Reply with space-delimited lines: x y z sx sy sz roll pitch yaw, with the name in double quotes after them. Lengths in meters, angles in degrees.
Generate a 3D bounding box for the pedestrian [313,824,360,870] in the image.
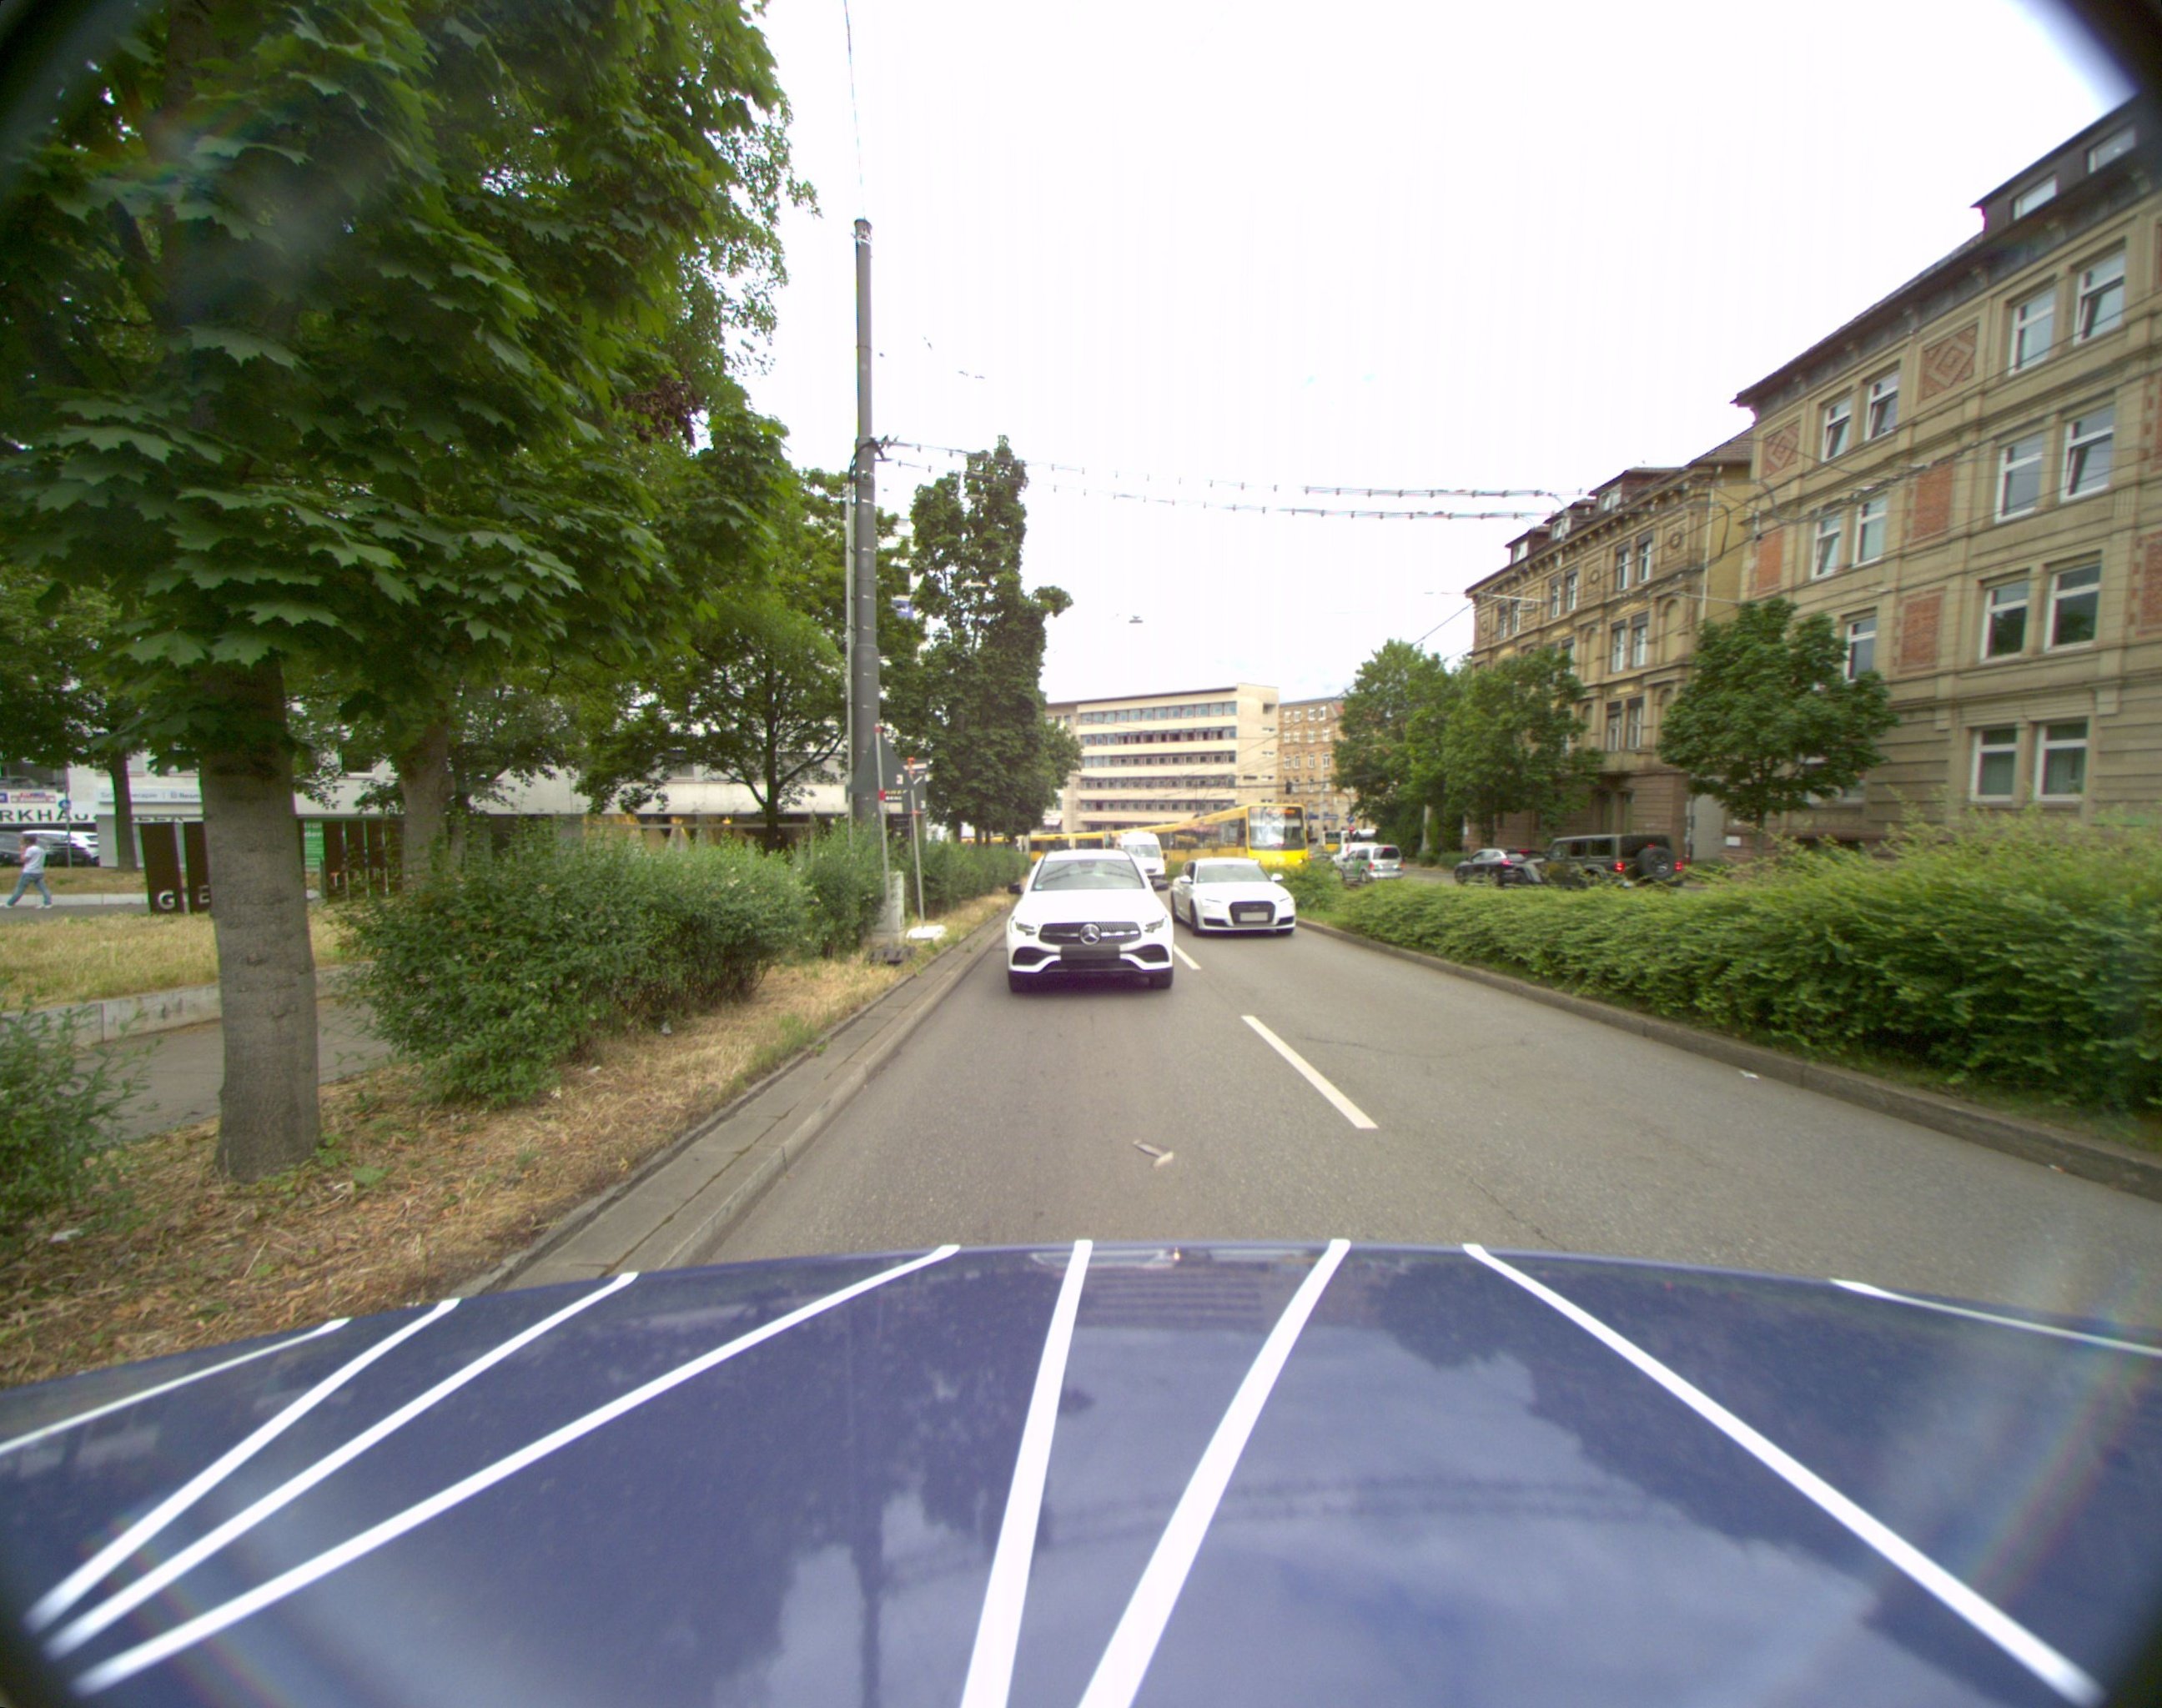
-27.912 -0.256 28.485 0.880 1.691 0.876 -1 1 -11 "pedestrian"

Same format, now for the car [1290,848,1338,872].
16.085 0.385 52.681 1.747 1.419 4.403 -3 1 -3 "car"

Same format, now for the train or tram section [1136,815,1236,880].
6.619 -0.562 51.159 2.890 3.643 14.216 -2 2 -8 "train or tram section"

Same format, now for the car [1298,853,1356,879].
14.639 0.695 45.592 1.824 1.442 4.945 0 0 -1 "car"

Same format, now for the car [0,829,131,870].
-43.176 -0.169 31.974 3.631 1.664 1.595 0 1 -28 "car"

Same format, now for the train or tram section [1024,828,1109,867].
-1.789 -0.842 78.994 2.935 3.540 14.195 -4 4 -26 "train or tram section"

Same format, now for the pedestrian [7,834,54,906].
-22.591 0.335 16.344 0.572 1.513 0.541 1 1 33 "pedestrian"

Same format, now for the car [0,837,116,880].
-41.424 0.167 30.218 3.393 1.639 1.595 0 1 -28 "car"

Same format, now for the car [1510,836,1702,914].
13.899 0.490 20.535 1.904 1.865 4.641 -1 0 -1 "car"

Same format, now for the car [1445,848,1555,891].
16.648 0.568 30.488 1.870 1.545 4.436 -1 1 -1 "car"

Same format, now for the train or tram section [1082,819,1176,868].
3.752 -0.916 65.052 2.893 3.643 14.205 -3 2 -18 "train or tram section"

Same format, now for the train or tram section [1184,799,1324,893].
7.757 -0.346 36.967 2.889 3.642 14.471 0 0 -2 "train or tram section"

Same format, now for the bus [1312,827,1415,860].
28.646 -1.095 76.774 11.566 3.012 3.381 -2 1 -32 "bus"

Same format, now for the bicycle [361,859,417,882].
-27.036 0.624 29.696 1.543 0.853 0.519 -1 1 -12 "bicycle"

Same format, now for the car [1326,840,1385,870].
18.917 0.042 52.630 1.999 1.839 4.990 -3 2 -3 "car"

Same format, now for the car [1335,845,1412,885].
14.187 0.480 37.149 1.884 1.777 4.516 -2 1 -1 "car"

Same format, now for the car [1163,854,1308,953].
2.924 0.864 15.441 1.897 1.467 4.529 -3 2 -1 "car"

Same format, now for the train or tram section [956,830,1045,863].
-9.925 -0.857 90.965 2.895 3.423 14.189 -7 4 -40 "train or tram section"

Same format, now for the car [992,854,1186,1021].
0.090 0.863 10.239 1.935 1.622 4.773 -3 0 0 "car"

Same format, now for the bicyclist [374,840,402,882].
-27.075 0.266 29.677 0.596 1.593 0.513 -1 1 -11 "bicyclist"

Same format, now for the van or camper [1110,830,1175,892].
2.865 0.220 36.906 2.209 2.544 6.369 -3 3 -3 "van or camper"
